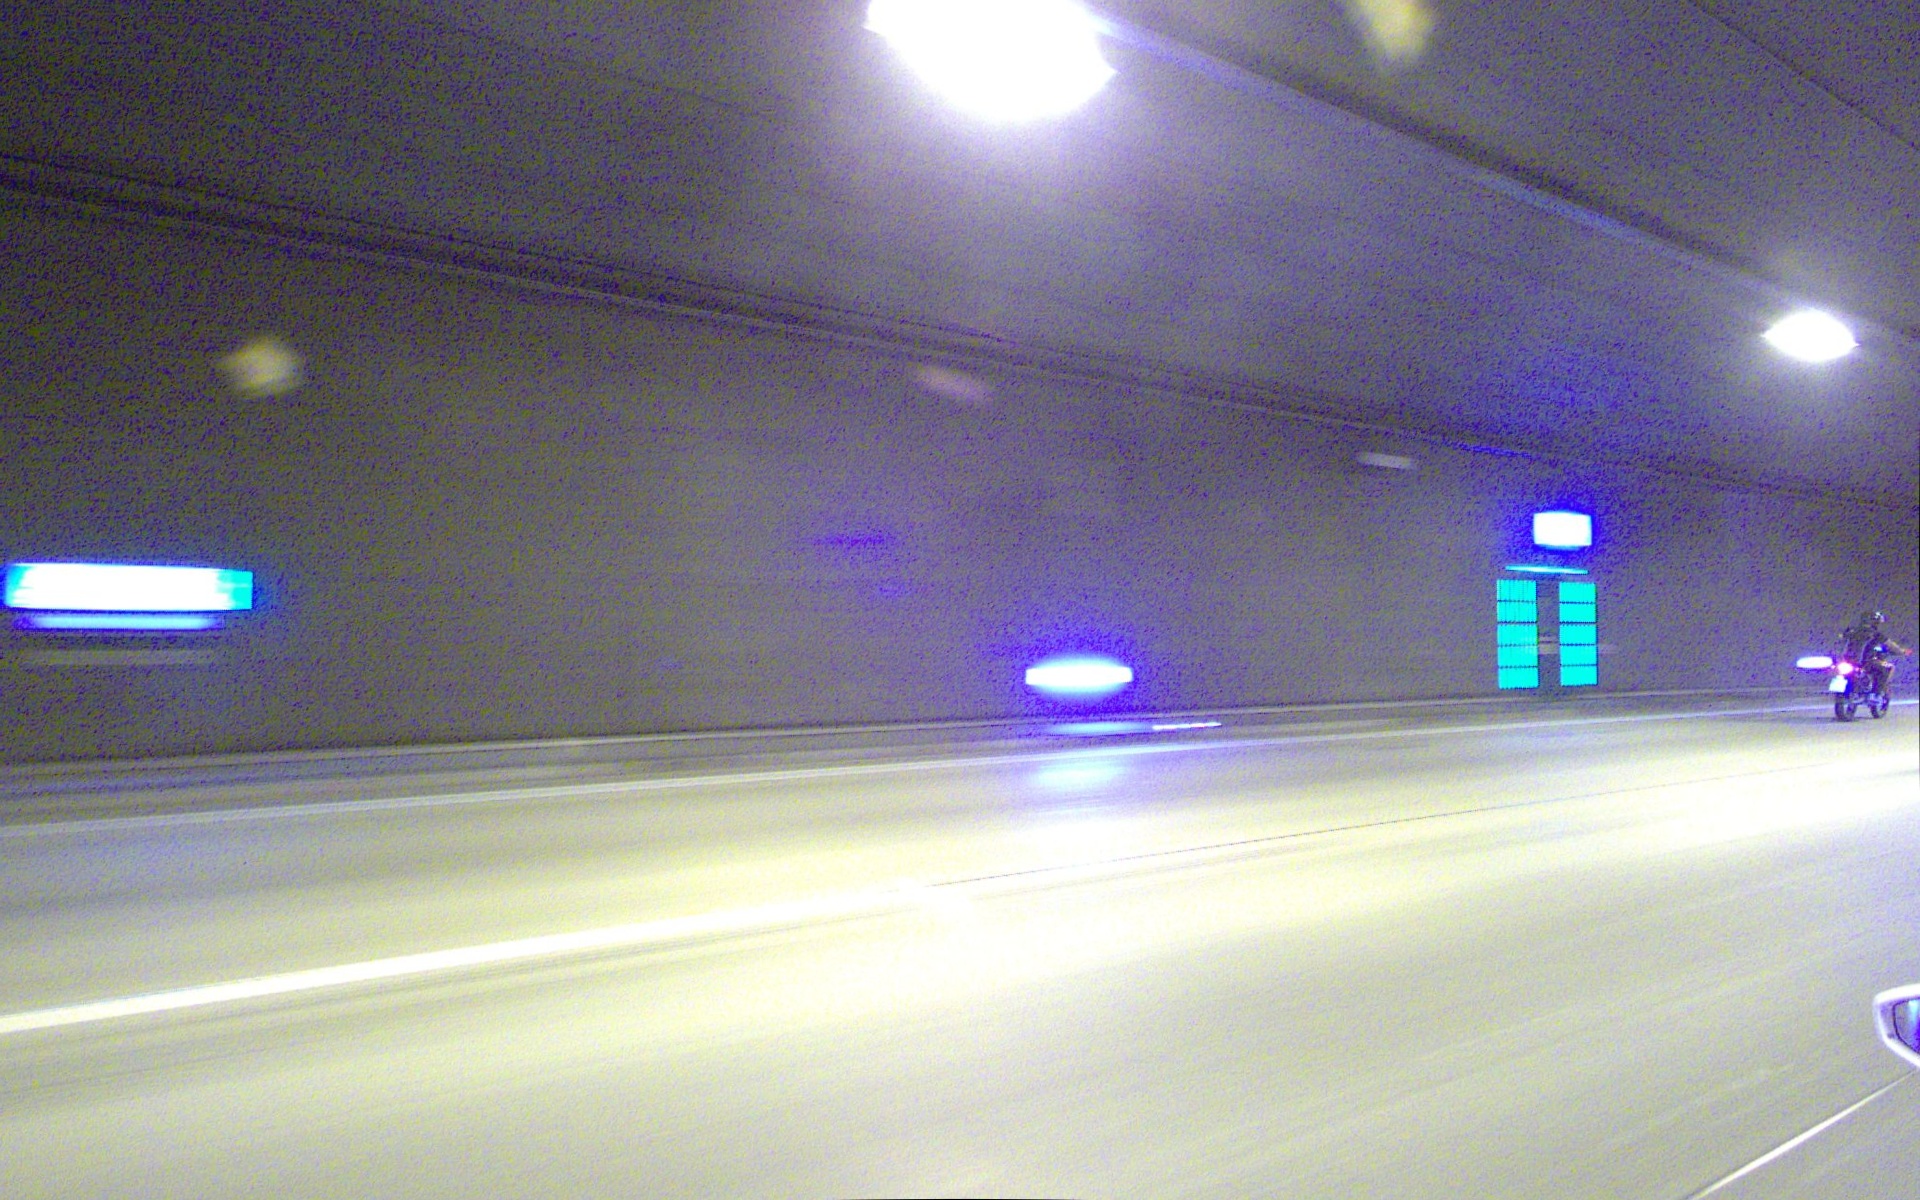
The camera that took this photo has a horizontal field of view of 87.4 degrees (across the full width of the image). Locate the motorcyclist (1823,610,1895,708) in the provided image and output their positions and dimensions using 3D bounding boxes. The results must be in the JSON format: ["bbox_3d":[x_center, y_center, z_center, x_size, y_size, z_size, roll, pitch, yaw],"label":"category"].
[{"bbox_3d":[14.266,0.915,15.944,0.880,1.509,0.624,1,-1,-31],"label":"motorcyclist"}]

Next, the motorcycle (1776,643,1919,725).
[{"bbox_3d":[14.151,1.298,15.983,2.399,1.173,1.048,2,-1,-31],"label":"motorcycle"}]
